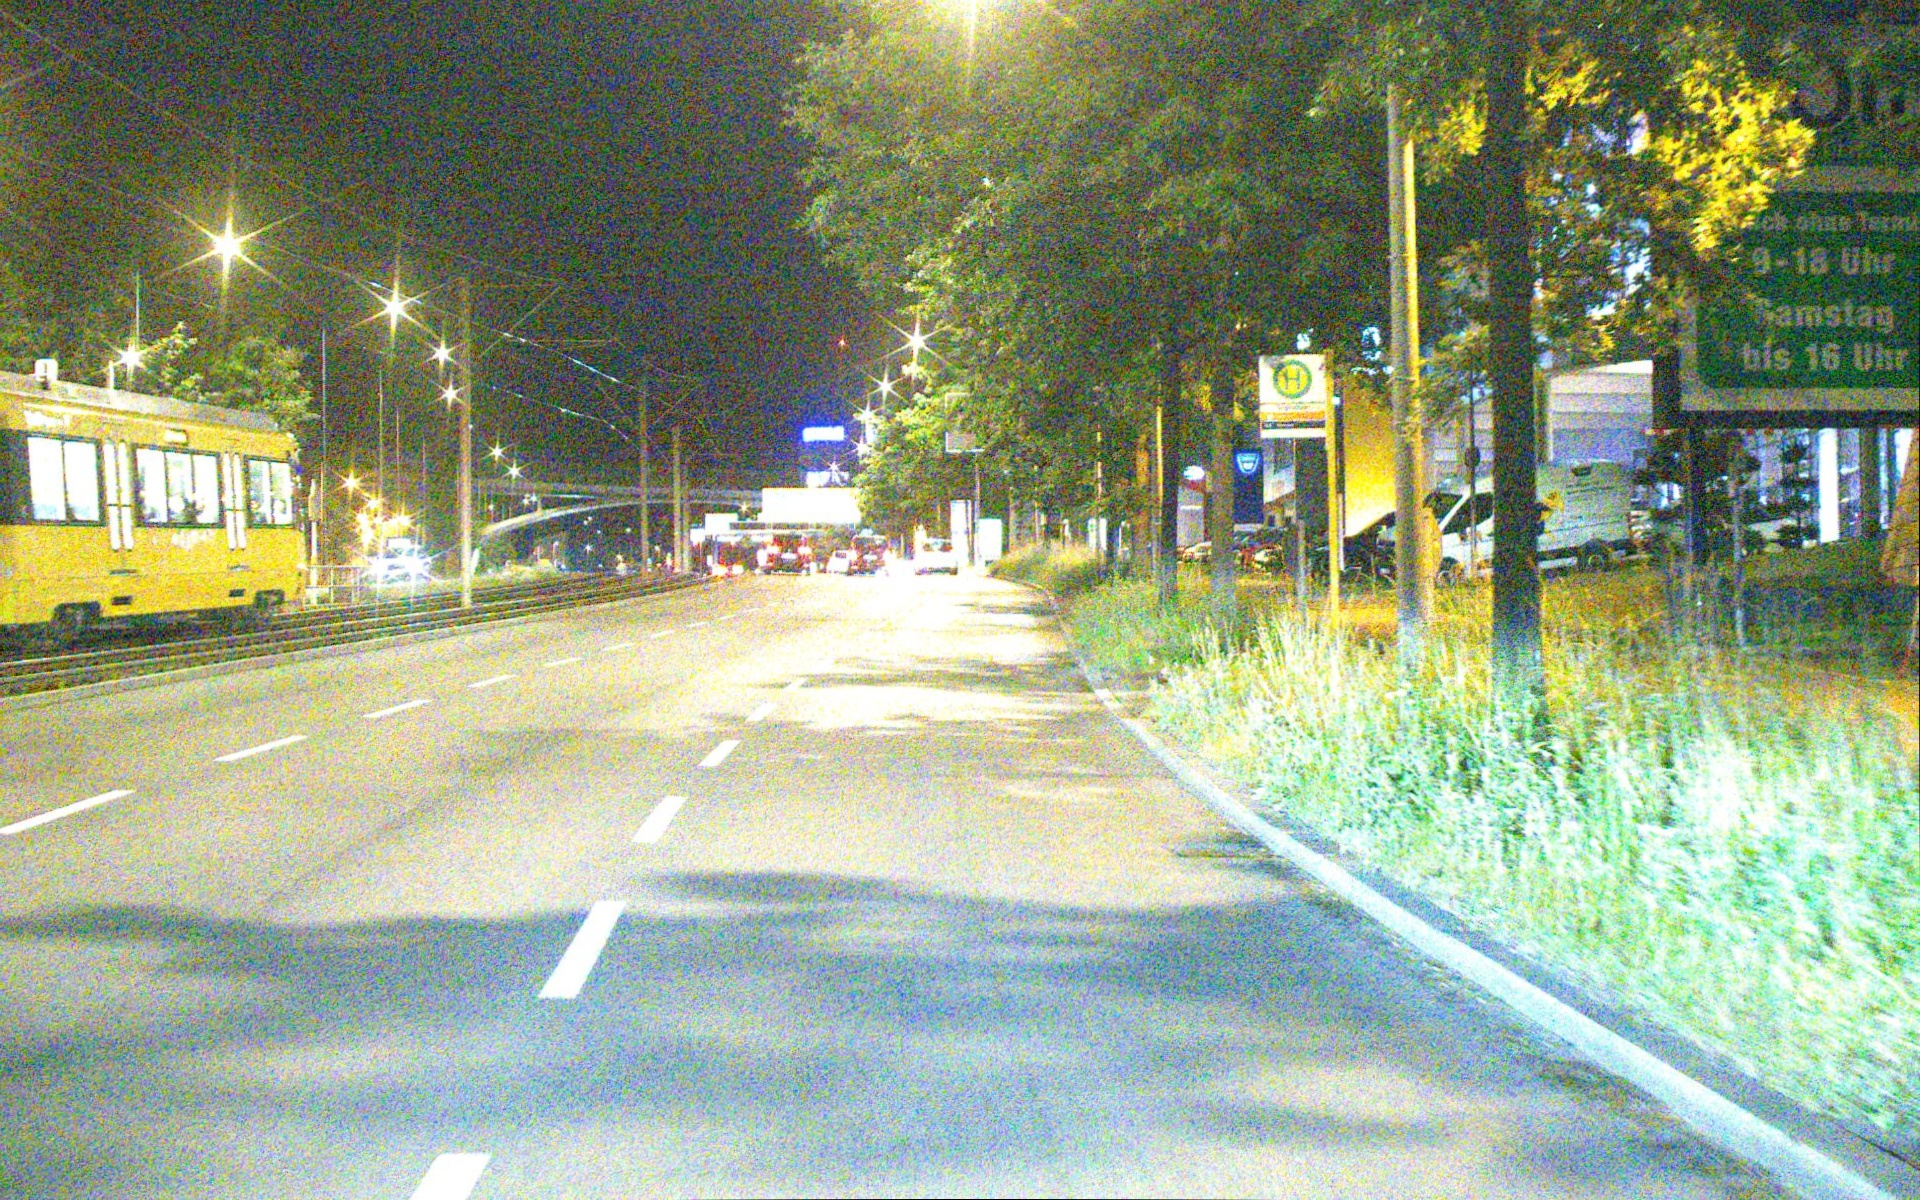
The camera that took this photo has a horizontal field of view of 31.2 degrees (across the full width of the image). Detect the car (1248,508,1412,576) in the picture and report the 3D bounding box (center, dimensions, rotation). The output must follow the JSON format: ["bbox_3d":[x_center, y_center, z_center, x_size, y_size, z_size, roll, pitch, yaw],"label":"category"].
[{"bbox_3d":[10.299,-1.616,95.846,4.079,1.563,1.855,-5,2,-11],"label":"car"}]

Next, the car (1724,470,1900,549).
[{"bbox_3d":[19.541,-2.058,79.012,1.793,1.572,3.968,-6,2,-22],"label":"car"}]

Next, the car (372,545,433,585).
[{"bbox_3d":[-21.514,-1.344,132.800,1.660,1.511,3.910,0,0,1],"label":"car"}]

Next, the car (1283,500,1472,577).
[{"bbox_3d":[10.922,-1.618,90.031,4.459,1.804,2.001,-3,1,-11],"label":"car"}]

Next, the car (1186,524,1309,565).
[{"bbox_3d":[10.292,-1.999,123.147,3.986,1.419,1.910,-1,2,-18],"label":"car"}]

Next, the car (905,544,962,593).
[{"bbox_3d":[-1.190,-1.373,149.915,2.427,2.106,4.826,0,0,-1],"label":"car"}]

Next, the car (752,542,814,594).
[{"bbox_3d":[-6.953,-1.260,135.512,2.262,2.007,4.826,0,0,-1],"label":"car"}]

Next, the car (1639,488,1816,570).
[{"bbox_3d":[16.828,-1.538,75.515,1.805,1.706,3.968,-1,0,-22],"label":"car"}]

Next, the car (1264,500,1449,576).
[{"bbox_3d":[10.698,-1.673,92.796,4.459,1.681,2.001,-5,2,-11],"label":"car"}]

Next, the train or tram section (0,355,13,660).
[{"bbox_3d":[-13.624,-1.024,34.147,2.738,3.833,19.364,0,1,1],"label":"train or tram section"}]

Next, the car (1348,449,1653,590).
[{"bbox_3d":[11.797,-1.760,75.137,6.015,2.520,2.284,-6,2,-17],"label":"car"}]

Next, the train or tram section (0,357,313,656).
[{"bbox_3d":[-13.285,-1.346,53.198,2.758,3.814,18.671,0,1,1],"label":"train or tram section"}]

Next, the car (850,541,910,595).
[{"bbox_3d":[-3.224,-1.281,139.113,2.356,2.122,4.826,0,0,-1],"label":"car"}]

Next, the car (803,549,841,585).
[{"bbox_3d":[-7.249,-1.744,181.072,1.887,1.853,4.000,0,0,-1],"label":"car"}]

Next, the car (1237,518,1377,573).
[{"bbox_3d":[10.534,-1.650,104.319,3.801,1.448,1.718,-3,2,-14],"label":"car"}]
